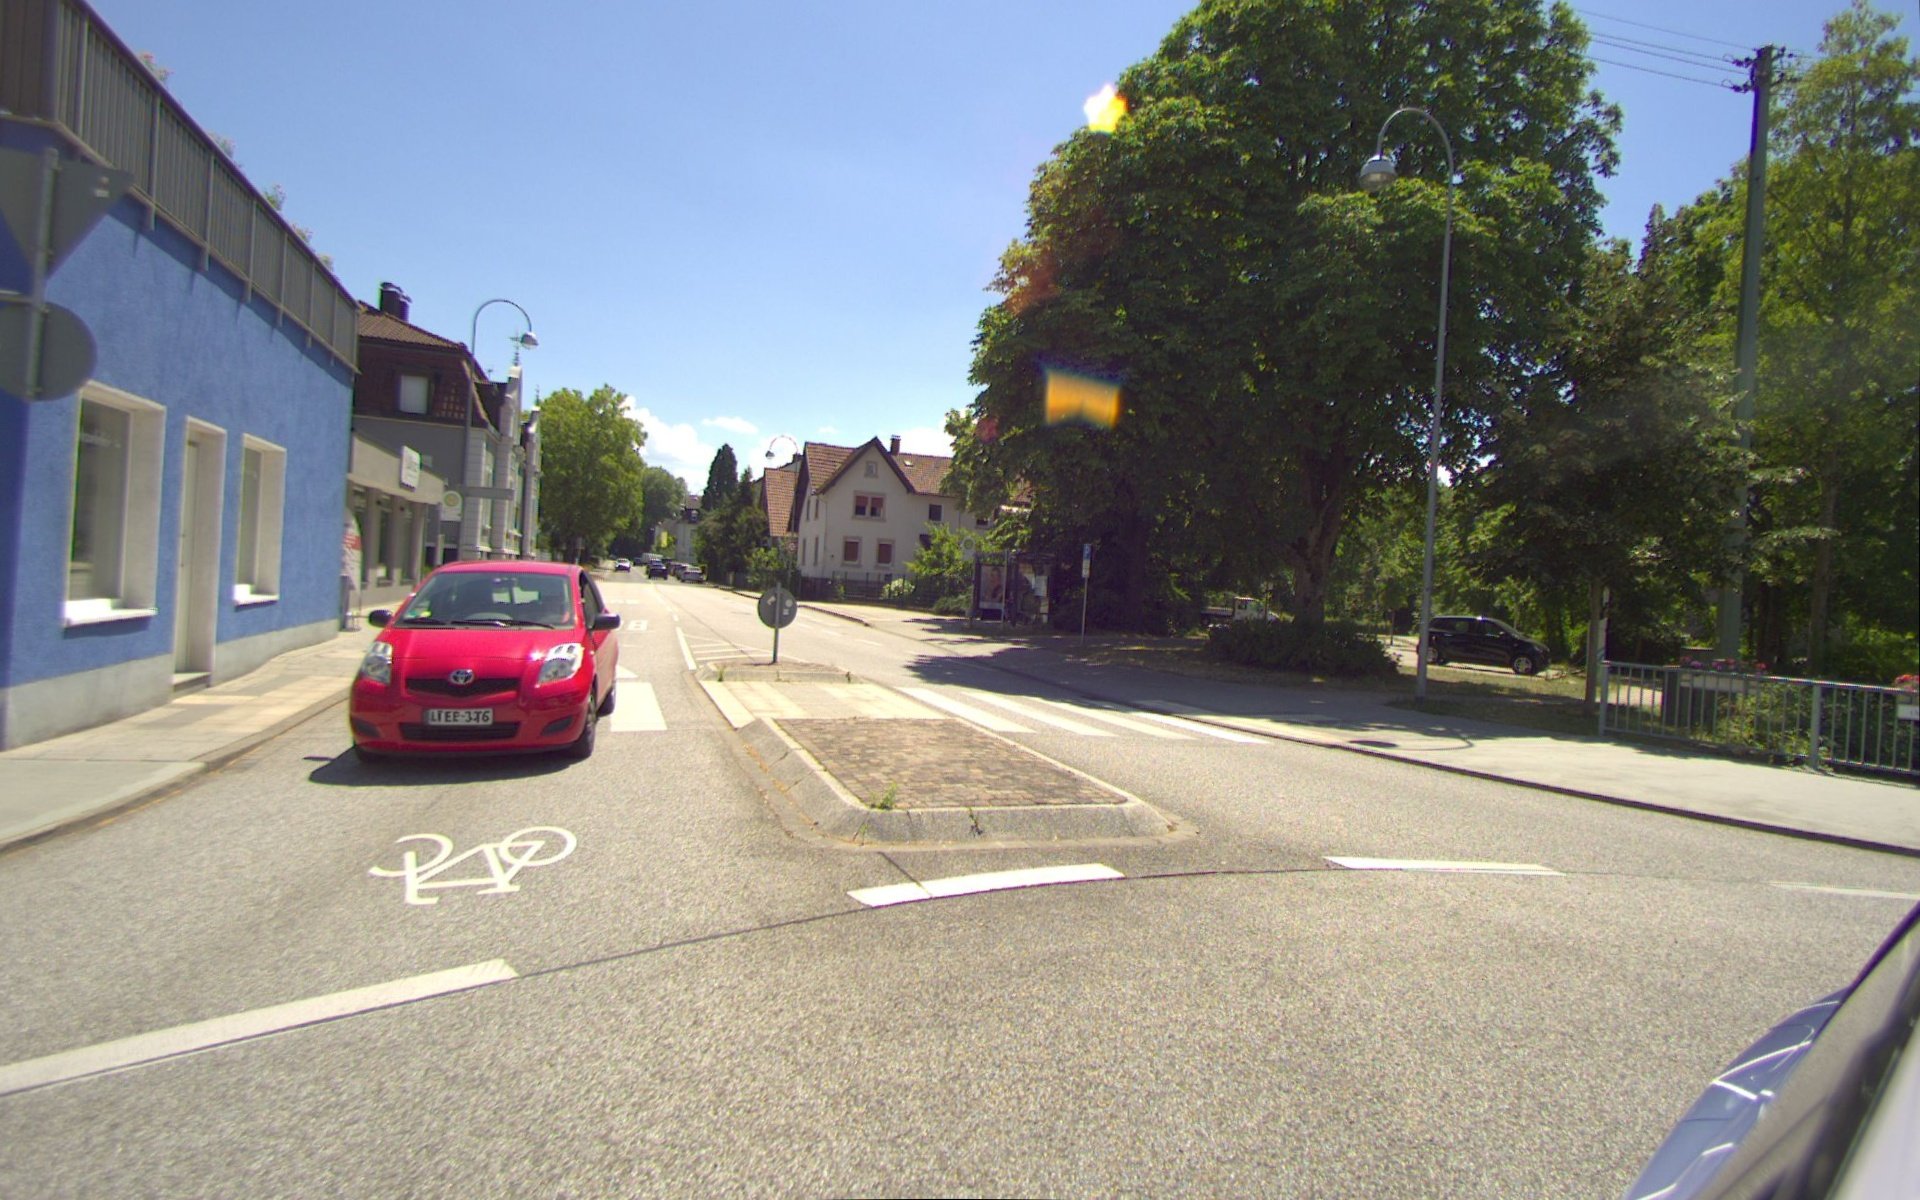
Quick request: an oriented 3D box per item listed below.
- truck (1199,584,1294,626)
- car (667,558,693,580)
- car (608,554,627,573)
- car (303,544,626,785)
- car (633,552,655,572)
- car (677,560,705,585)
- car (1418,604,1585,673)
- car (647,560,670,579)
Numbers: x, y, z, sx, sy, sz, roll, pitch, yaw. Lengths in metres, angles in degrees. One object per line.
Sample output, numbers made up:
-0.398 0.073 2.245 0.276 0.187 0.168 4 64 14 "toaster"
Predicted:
20.105 0.350 71.290 6.126 2.474 2.255 4 -2 13 "truck"
-28.412 -3.101 102.598 1.958 2.039 4.008 5 -1 -23 "car"
-42.863 -4.516 126.642 1.958 2.039 4.008 5 -1 -20 "car"
-3.895 0.349 8.673 1.796 1.552 4.009 0 2 -16 "car"
-36.334 -4.386 116.342 1.958 2.039 4.008 5 -1 -23 "car"
-24.555 -2.520 92.298 1.958 2.039 4.008 5 -1 -20 "car"
15.868 1.075 29.743 3.984 1.621 1.815 5 2 41 "car"
-29.485 -2.960 98.833 1.703 1.727 4.008 2 -1 -22 "car"
